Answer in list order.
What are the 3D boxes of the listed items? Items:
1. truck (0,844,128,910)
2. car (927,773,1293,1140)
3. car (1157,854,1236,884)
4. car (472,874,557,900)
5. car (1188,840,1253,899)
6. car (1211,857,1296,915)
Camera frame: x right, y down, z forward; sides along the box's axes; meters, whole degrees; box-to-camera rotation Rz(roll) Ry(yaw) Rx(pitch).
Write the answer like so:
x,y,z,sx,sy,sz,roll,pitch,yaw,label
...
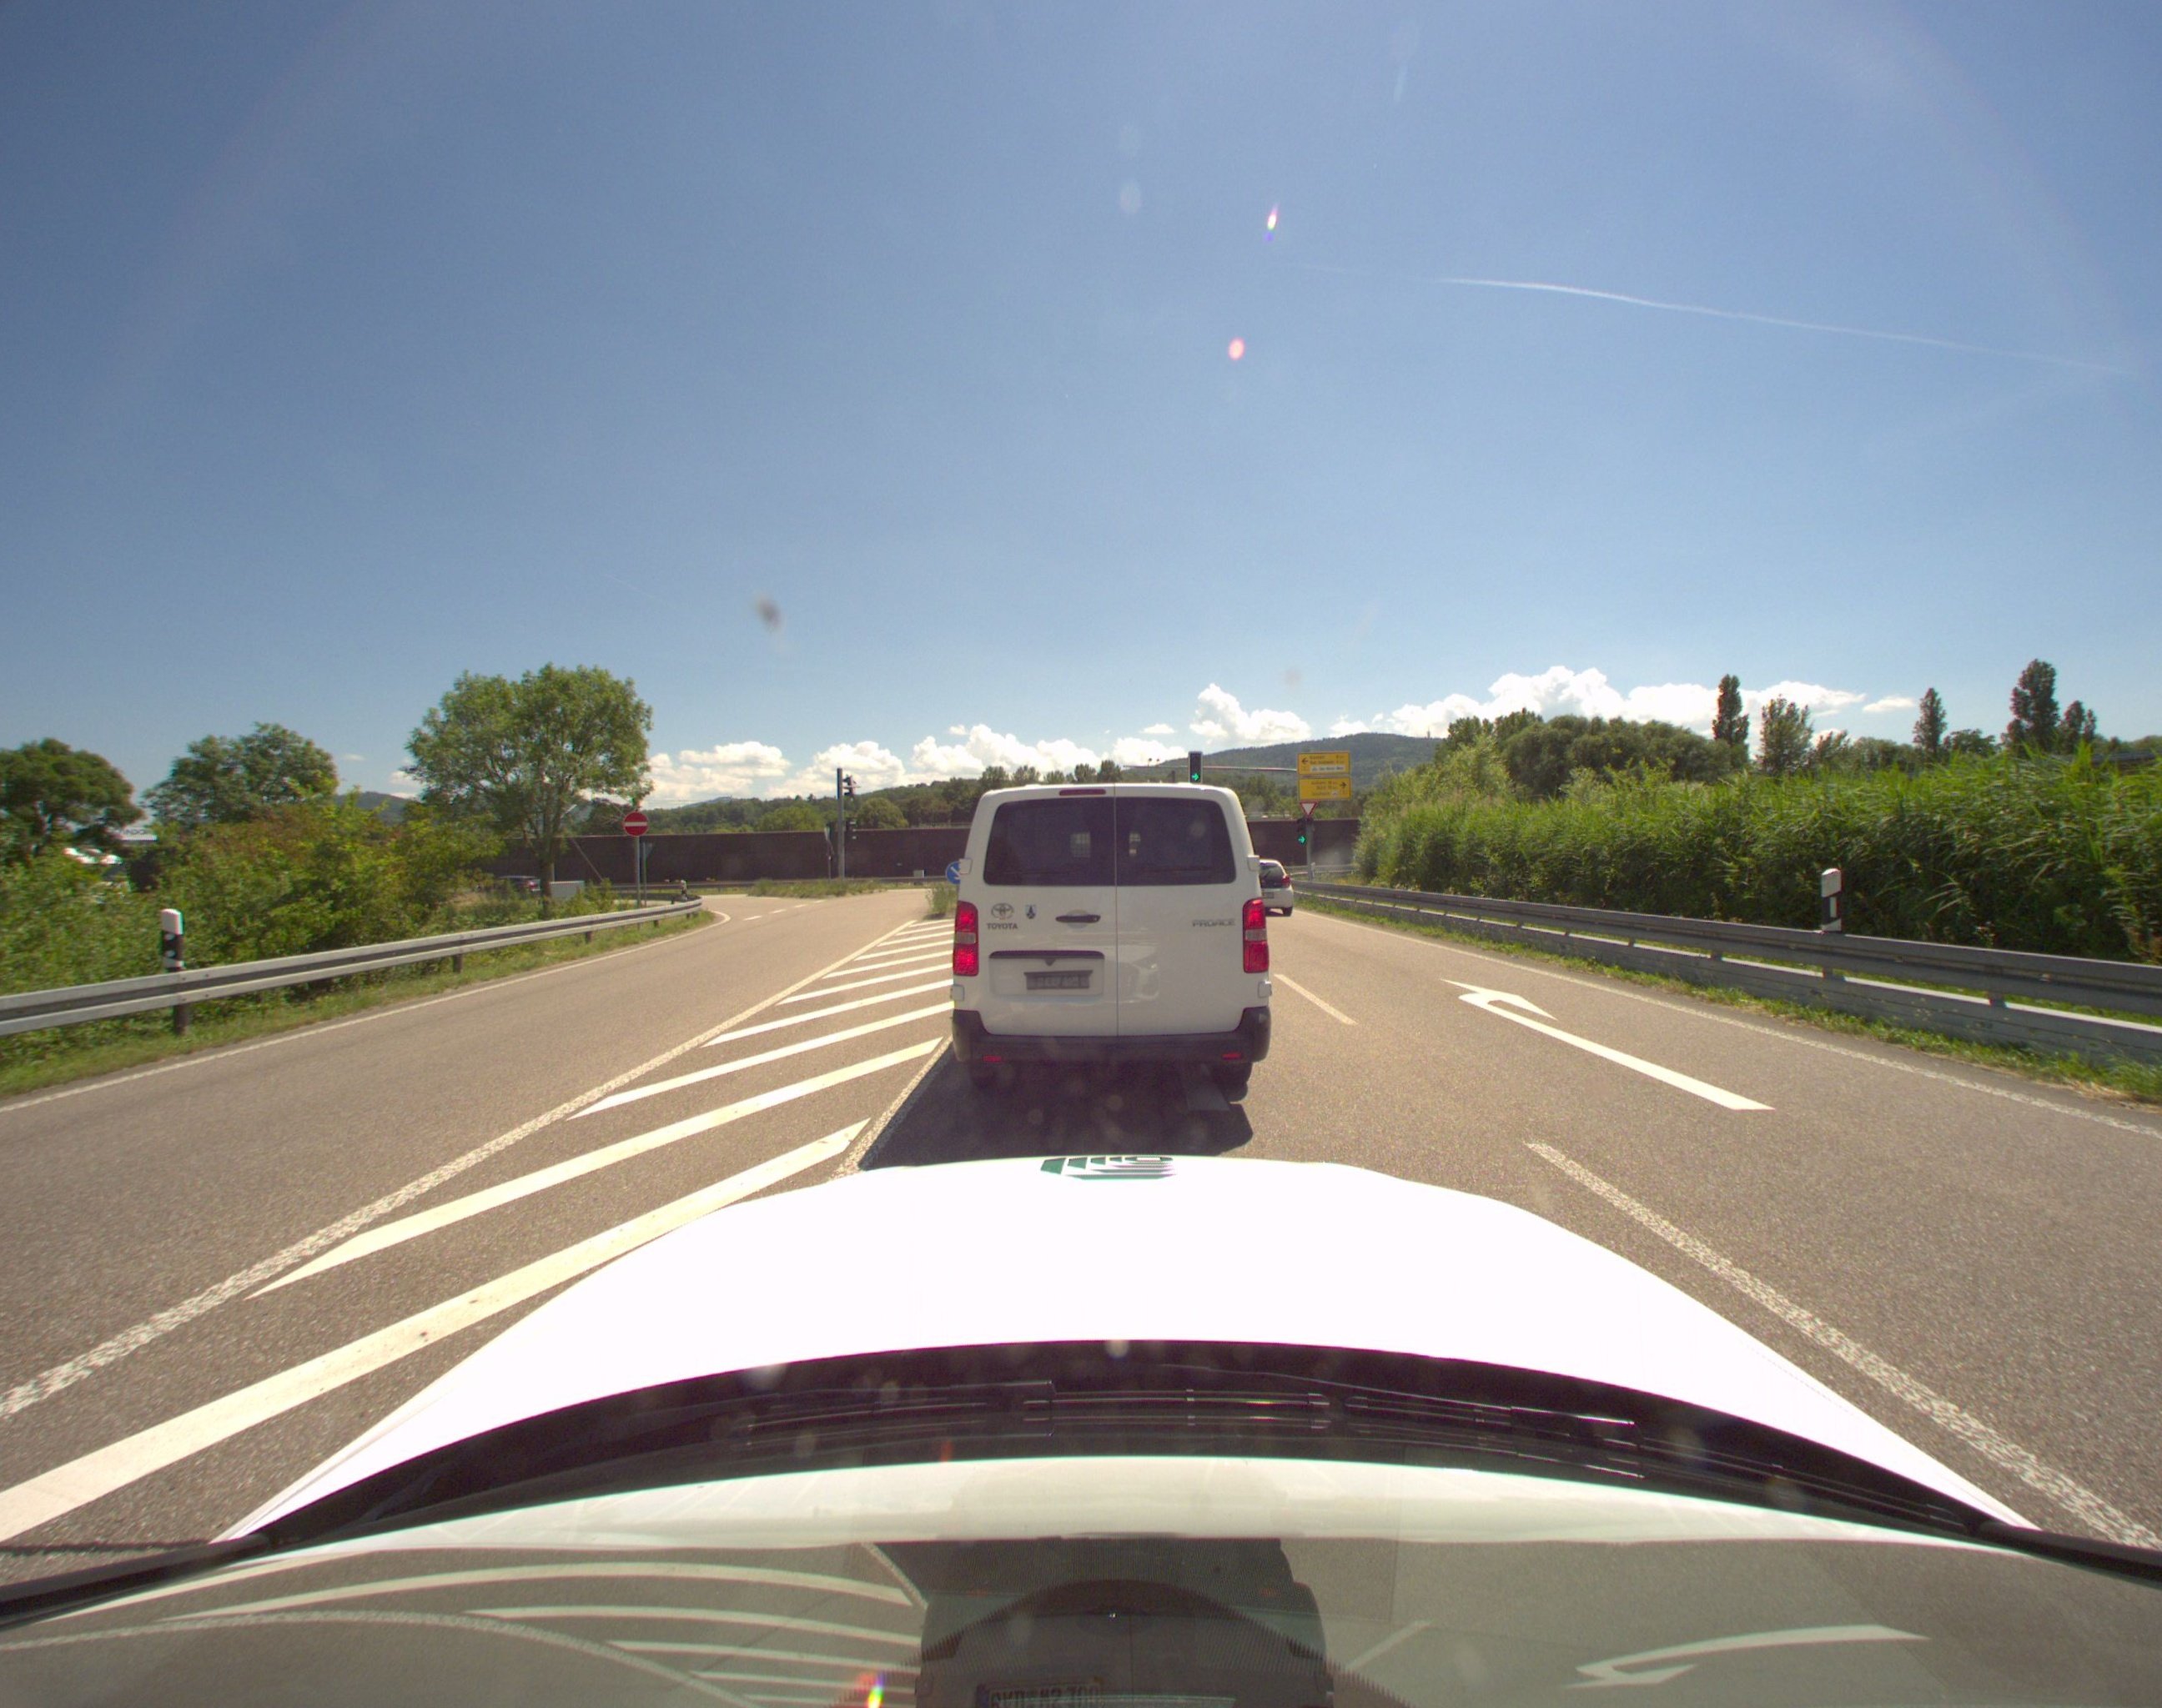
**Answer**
x,y,z,sx,sy,sz,roll,pitch,yaw,label
-58.277,1.286,45.002,9.028,3.470,2.128,-1,-1,3,truck
0.192,0.546,6.225,1.880,1.886,4.001,-1,-1,1,car
6.864,0.890,48.808,4.307,1.656,1.995,-1,-1,-8,car
-36.215,2.097,52.138,3.974,1.556,1.999,-1,-1,-1,car
5.081,0.545,30.270,1.920,2.000,4.843,-1,-1,4,car
4.584,0.822,22.030,1.650,1.431,3.366,-1,-1,1,car
